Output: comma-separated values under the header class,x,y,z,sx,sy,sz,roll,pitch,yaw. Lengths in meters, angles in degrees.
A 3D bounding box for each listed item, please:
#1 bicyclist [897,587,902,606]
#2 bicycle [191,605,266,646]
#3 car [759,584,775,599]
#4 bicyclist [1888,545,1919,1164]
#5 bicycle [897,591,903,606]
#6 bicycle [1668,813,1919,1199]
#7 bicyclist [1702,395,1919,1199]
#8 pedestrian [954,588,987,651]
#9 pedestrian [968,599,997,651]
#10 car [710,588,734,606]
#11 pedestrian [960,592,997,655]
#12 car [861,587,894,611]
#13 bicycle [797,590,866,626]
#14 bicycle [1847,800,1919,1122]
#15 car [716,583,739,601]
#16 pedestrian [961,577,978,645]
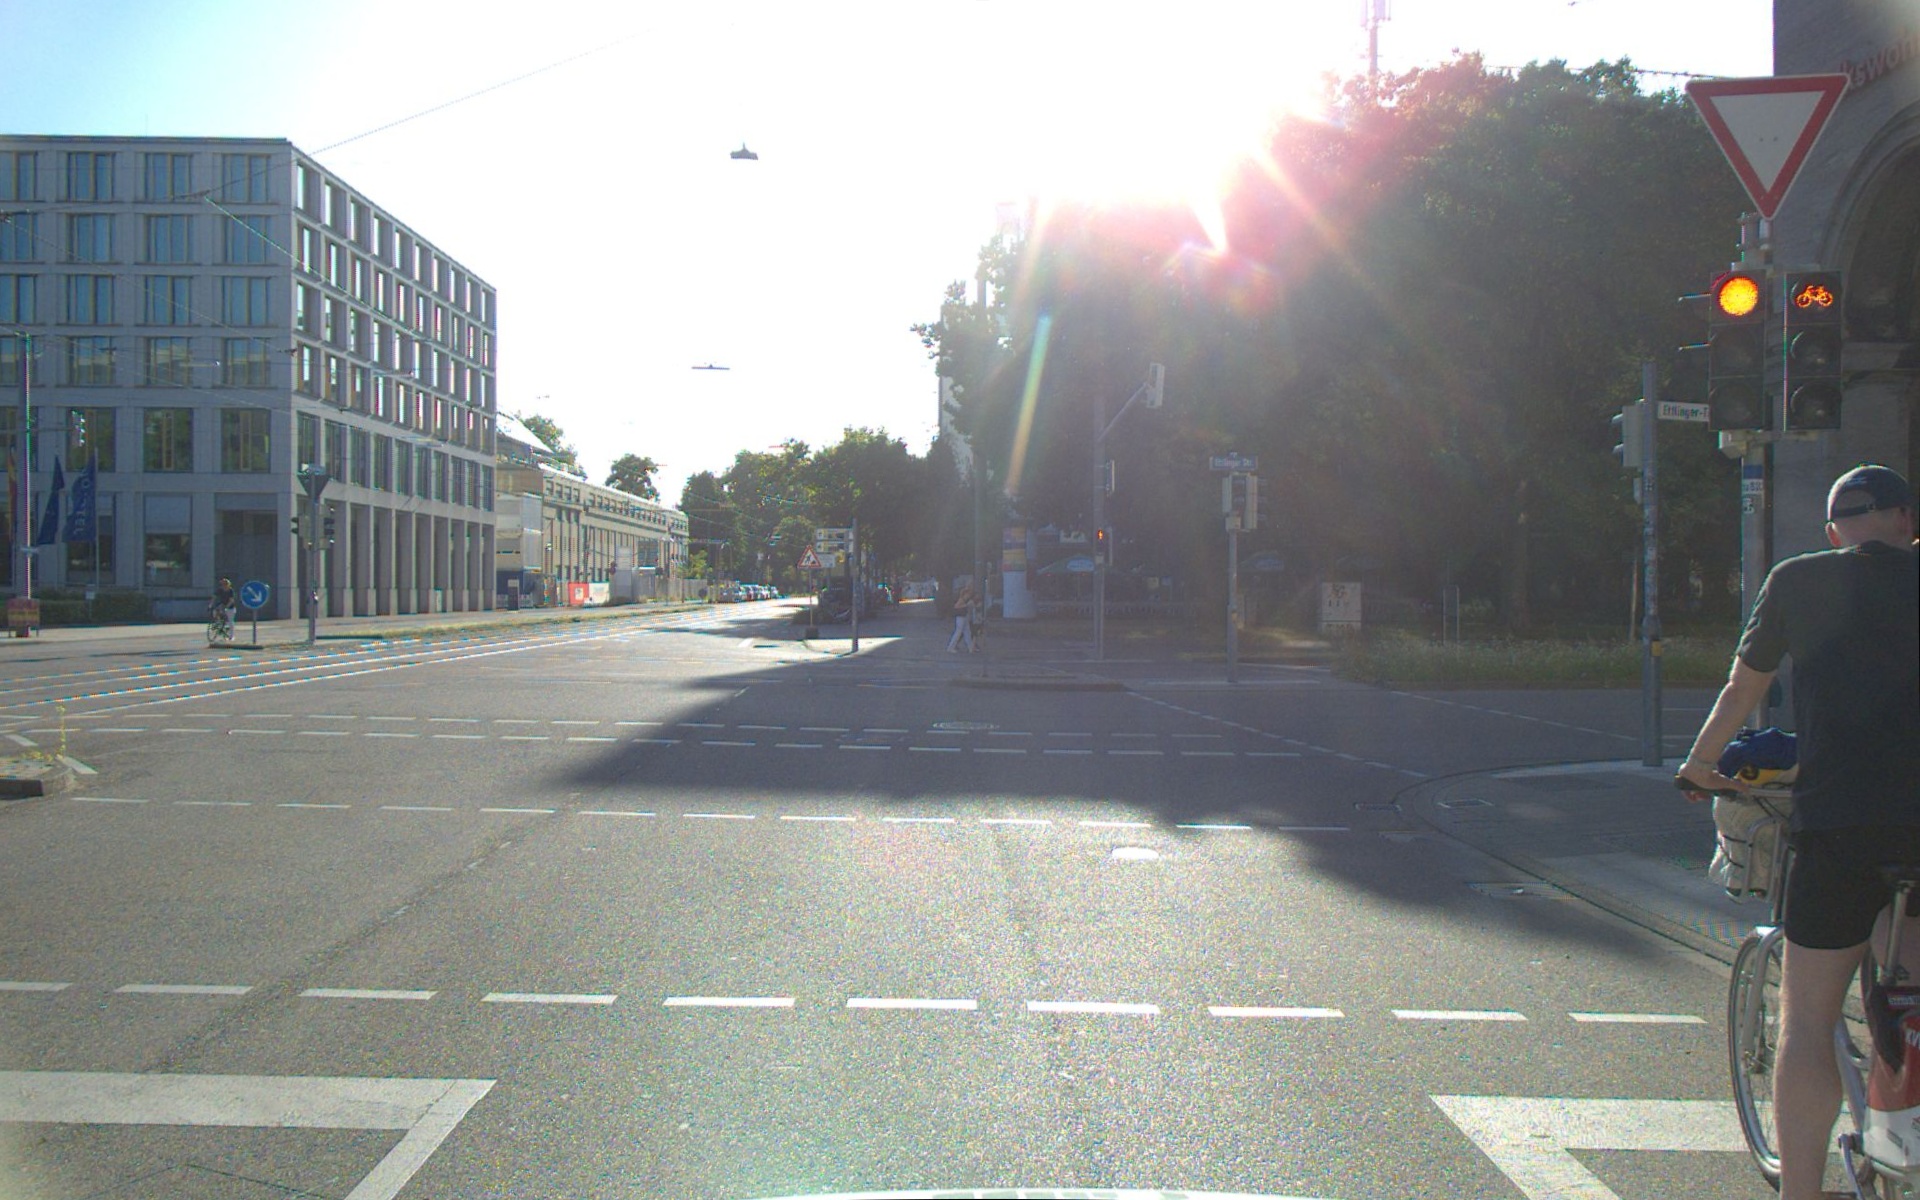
class,x,y,z,sx,sy,sz,roll,pitch,yaw
bicyclist,-3.594,-0.204,98.246,0.312,1.147,0.291,0,0,-2
bicycle,-21.410,0.717,48.478,0.857,1.140,3.013,0,0,0
car,-22.645,-0.982,193.951,1.453,1.780,3.999,0,0,-1
bicyclist,2.891,0.703,4.278,0.511,1.709,0.859,0,0,2
bicycle,-3.587,-0.066,98.198,0.317,0.883,1.483,0,0,-1
bicycle,2.156,1.096,3.903,0.381,0.921,1.952,0,0,8
bicyclist,2.126,0.426,3.743,0.655,1.707,0.657,0,0,9
pedestrian,0.278,0.516,43.948,0.778,1.668,0.534,0,0,11
pedestrian,0.590,0.650,43.592,0.737,1.356,0.742,0,0,0
car,-22.528,-0.325,156.629,1.695,1.682,3.999,0,0,-1
pedestrian,0.488,0.615,43.257,0.964,1.615,0.660,0,-1,1
car,-4.495,-0.059,90.232,1.783,1.301,3.998,0,0,-3
bicycle,-5.225,0.330,67.051,2.688,1.391,0.631,1,-1,10
bicycle,3.008,1.089,4.298,0.418,0.891,1.951,0,0,2
car,-22.482,-0.797,159.753,1.695,1.682,3.999,0,0,-1
pedestrian,0.264,0.292,44.766,0.353,1.836,0.507,0,0,11
